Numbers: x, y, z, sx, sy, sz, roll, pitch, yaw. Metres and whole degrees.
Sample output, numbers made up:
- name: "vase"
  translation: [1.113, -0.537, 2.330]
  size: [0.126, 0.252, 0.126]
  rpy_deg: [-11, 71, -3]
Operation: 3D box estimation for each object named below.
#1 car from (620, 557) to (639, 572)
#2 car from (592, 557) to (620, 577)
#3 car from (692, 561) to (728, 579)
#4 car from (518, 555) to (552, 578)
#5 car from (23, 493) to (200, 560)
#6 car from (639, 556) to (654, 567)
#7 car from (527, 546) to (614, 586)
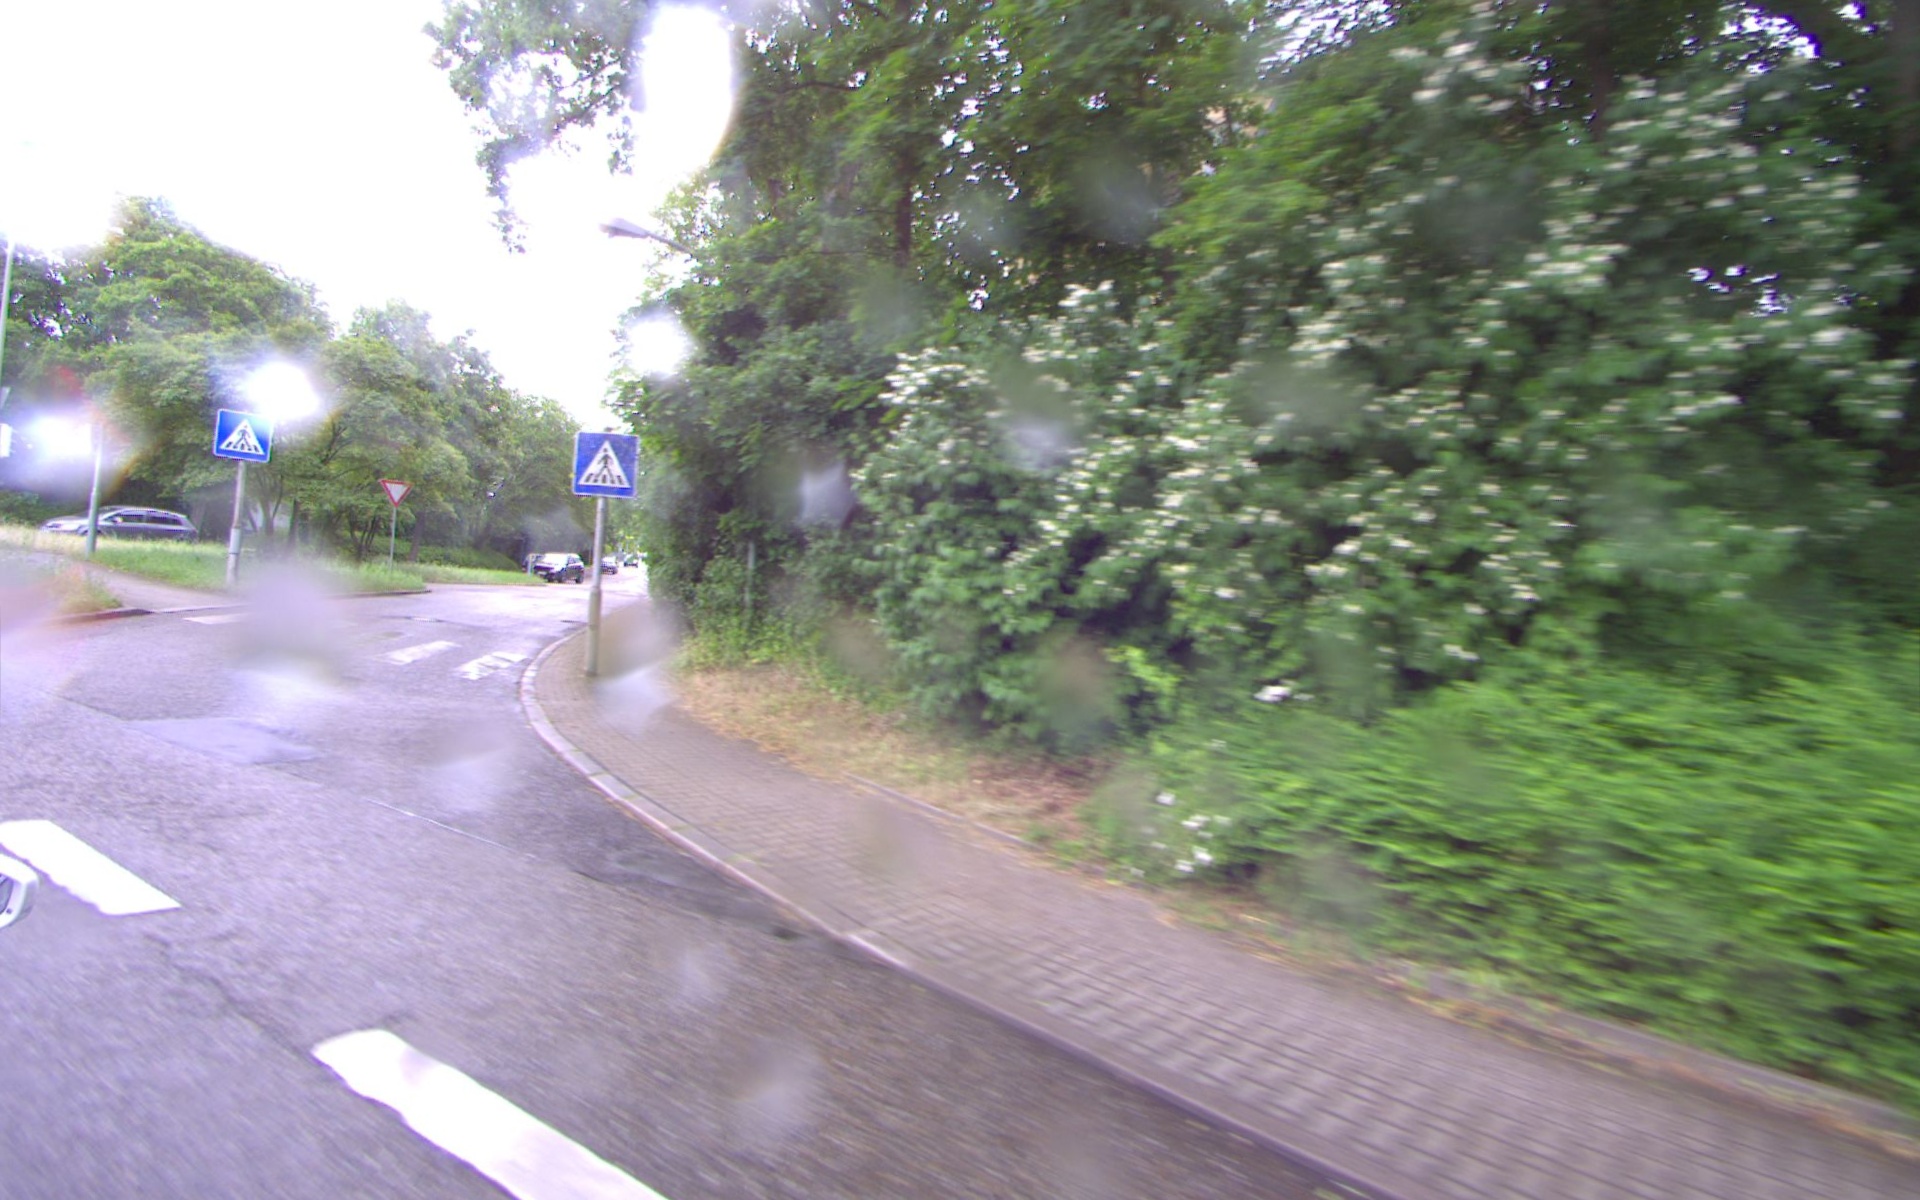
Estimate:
- name: "car"
  translation: [-41.372, -4.371, 125.938]
  size: [1.968, 1.463, 4.278]
  rpy_deg: [8, -2, -19]
- name: "car"
  translation: [-33.761, -3.109, 96.016]
  size: [1.874, 1.466, 4.286]
  rpy_deg: [8, -2, -13]
- name: "car"
  translation: [-29.437, -3.544, 118.391]
  size: [3.940, 1.594, 1.766]
  rpy_deg: [6, 0, -18]
- name: "car"
  translation: [-29.534, -2.323, 70.013]
  size: [1.651, 1.387, 3.478]
  rpy_deg: [7, 0, -16]
- name: "car"
  translation: [-27.897, -2.371, 33.232]
  size: [1.716, 1.622, 4.029]
  rpy_deg: [7, 0, 22]
- name: "car"
  translation: [-50.442, -6.217, 161.815]
  size: [1.878, 1.413, 4.151]
  rpy_deg: [8, -2, -20]
- name: "car"
  translation: [-22.672, -1.937, 58.762]
  size: [1.963, 1.738, 4.717]
  rpy_deg: [7, 0, 20]
